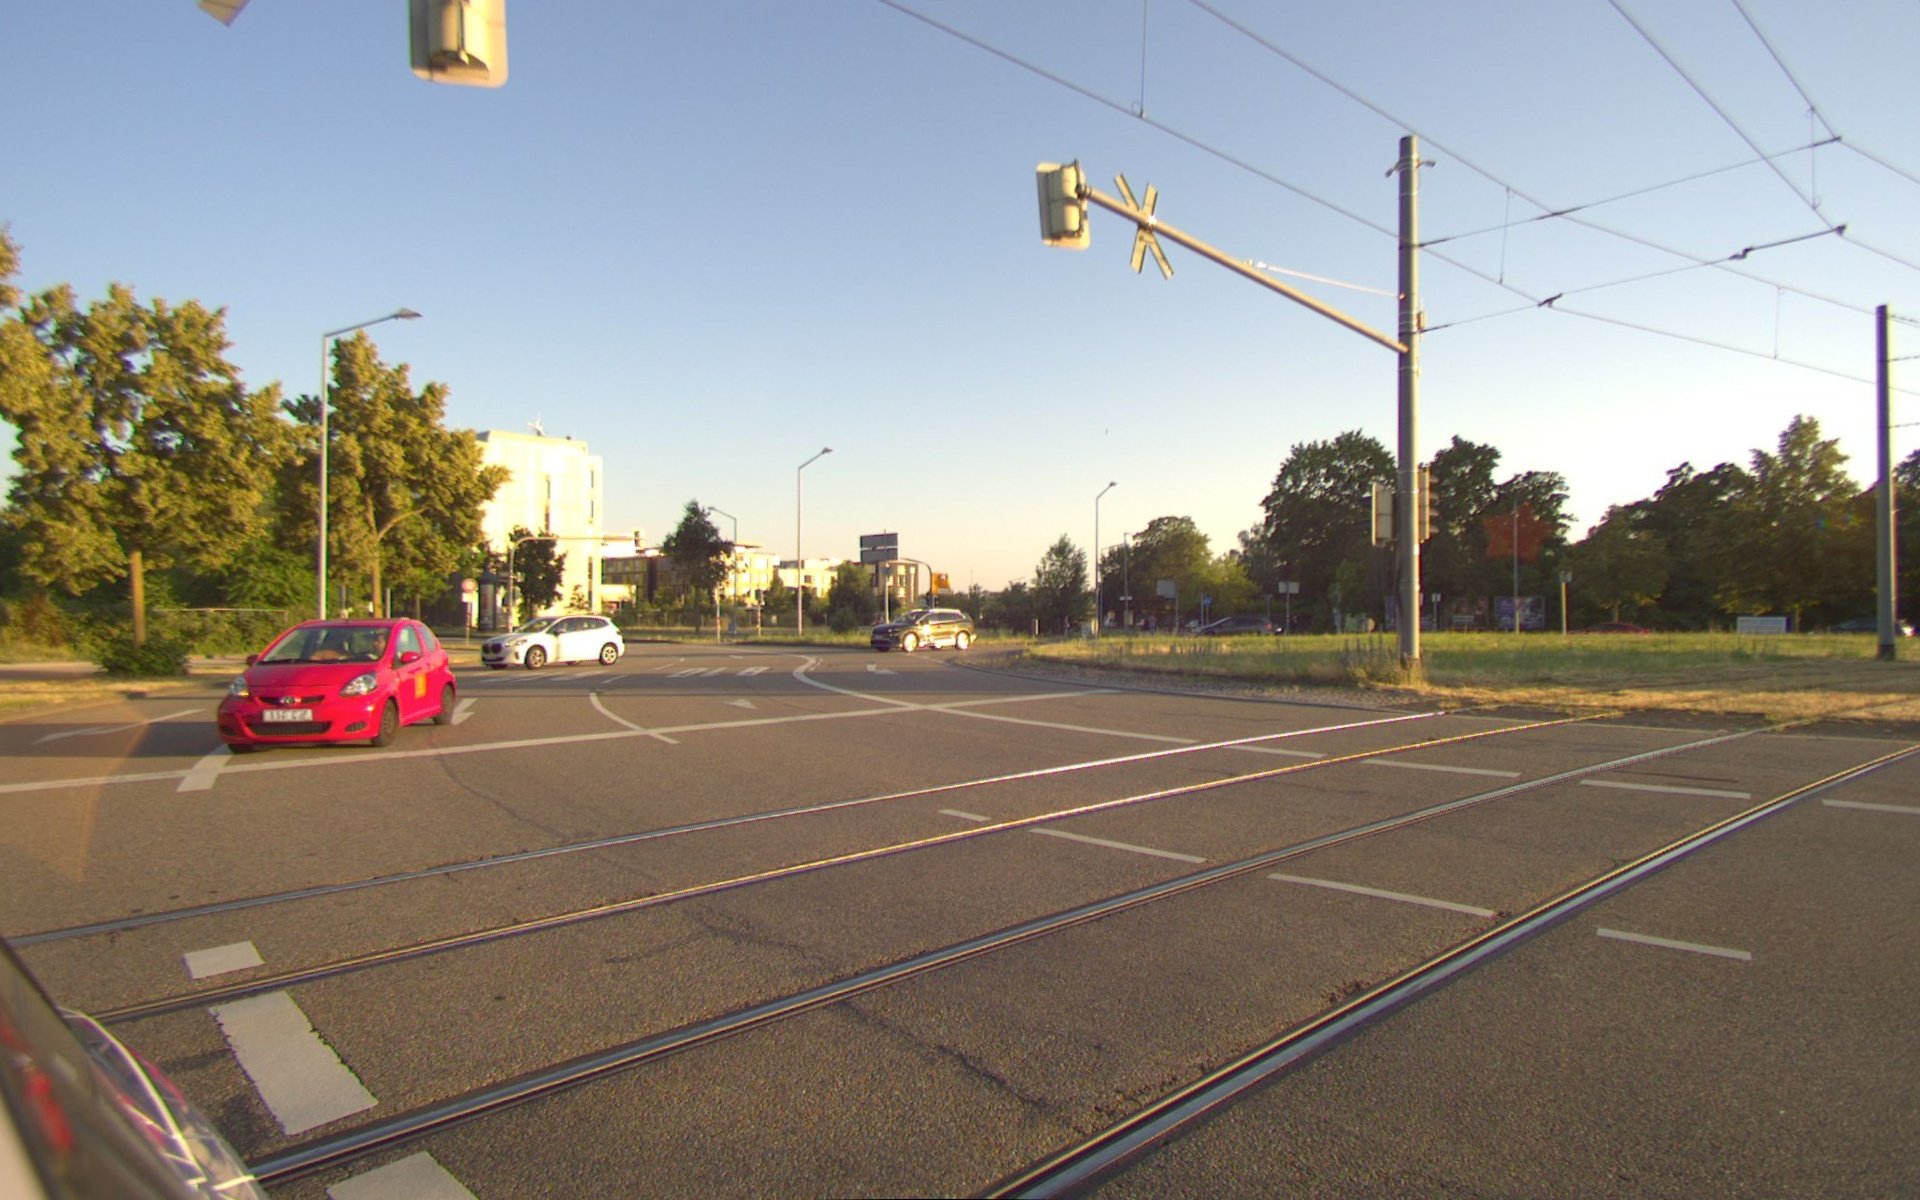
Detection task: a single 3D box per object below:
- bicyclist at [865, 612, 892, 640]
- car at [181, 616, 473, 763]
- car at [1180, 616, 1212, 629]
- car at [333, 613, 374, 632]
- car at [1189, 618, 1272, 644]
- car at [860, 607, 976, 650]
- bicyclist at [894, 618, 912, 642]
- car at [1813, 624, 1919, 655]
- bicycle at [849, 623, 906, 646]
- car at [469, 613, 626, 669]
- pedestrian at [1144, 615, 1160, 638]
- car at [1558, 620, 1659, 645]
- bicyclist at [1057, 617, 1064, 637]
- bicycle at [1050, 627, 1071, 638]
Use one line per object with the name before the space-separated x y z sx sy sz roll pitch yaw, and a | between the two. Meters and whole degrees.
bicyclist | -5.254 1.643 65.084 1.392 1.762 1.127 1 -1 -26
car | -7.465 0.939 12.441 1.667 1.432 4.221 -1 -1 -12
car | 25.453 2.431 109.227 1.914 1.443 4.411 0 -1 -8
car | -52.801 1.936 88.056 4.191 1.637 1.847 0 -1 42
car | 15.452 1.776 58.002 4.349 1.443 1.941 0 -2 7
car | -1.631 1.097 39.349 4.142 1.570 1.834 1 -2 -30
bicyclist | -3.852 2.014 68.353 0.984 1.645 0.813 1 -1 -33
car | 44.574 1.881 49.239 1.912 1.443 4.332 1 -2 -33
bicycle | -5.294 2.206 65.052 3.477 1.406 1.127 1 -1 -26
car | -12.274 1.186 30.382 1.754 1.570 4.169 -1 -2 31
pedestrian | 14.732 2.023 77.622 0.875 1.714 0.723 0 -2 -23
car | 37.883 1.881 59.222 1.913 1.443 4.604 1 -2 -37
bicyclist | 7.291 1.959 73.237 0.441 1.408 0.474 0 -1 -3
bicycle | 7.282 2.346 73.242 1.398 0.797 0.474 0 -1 -3
